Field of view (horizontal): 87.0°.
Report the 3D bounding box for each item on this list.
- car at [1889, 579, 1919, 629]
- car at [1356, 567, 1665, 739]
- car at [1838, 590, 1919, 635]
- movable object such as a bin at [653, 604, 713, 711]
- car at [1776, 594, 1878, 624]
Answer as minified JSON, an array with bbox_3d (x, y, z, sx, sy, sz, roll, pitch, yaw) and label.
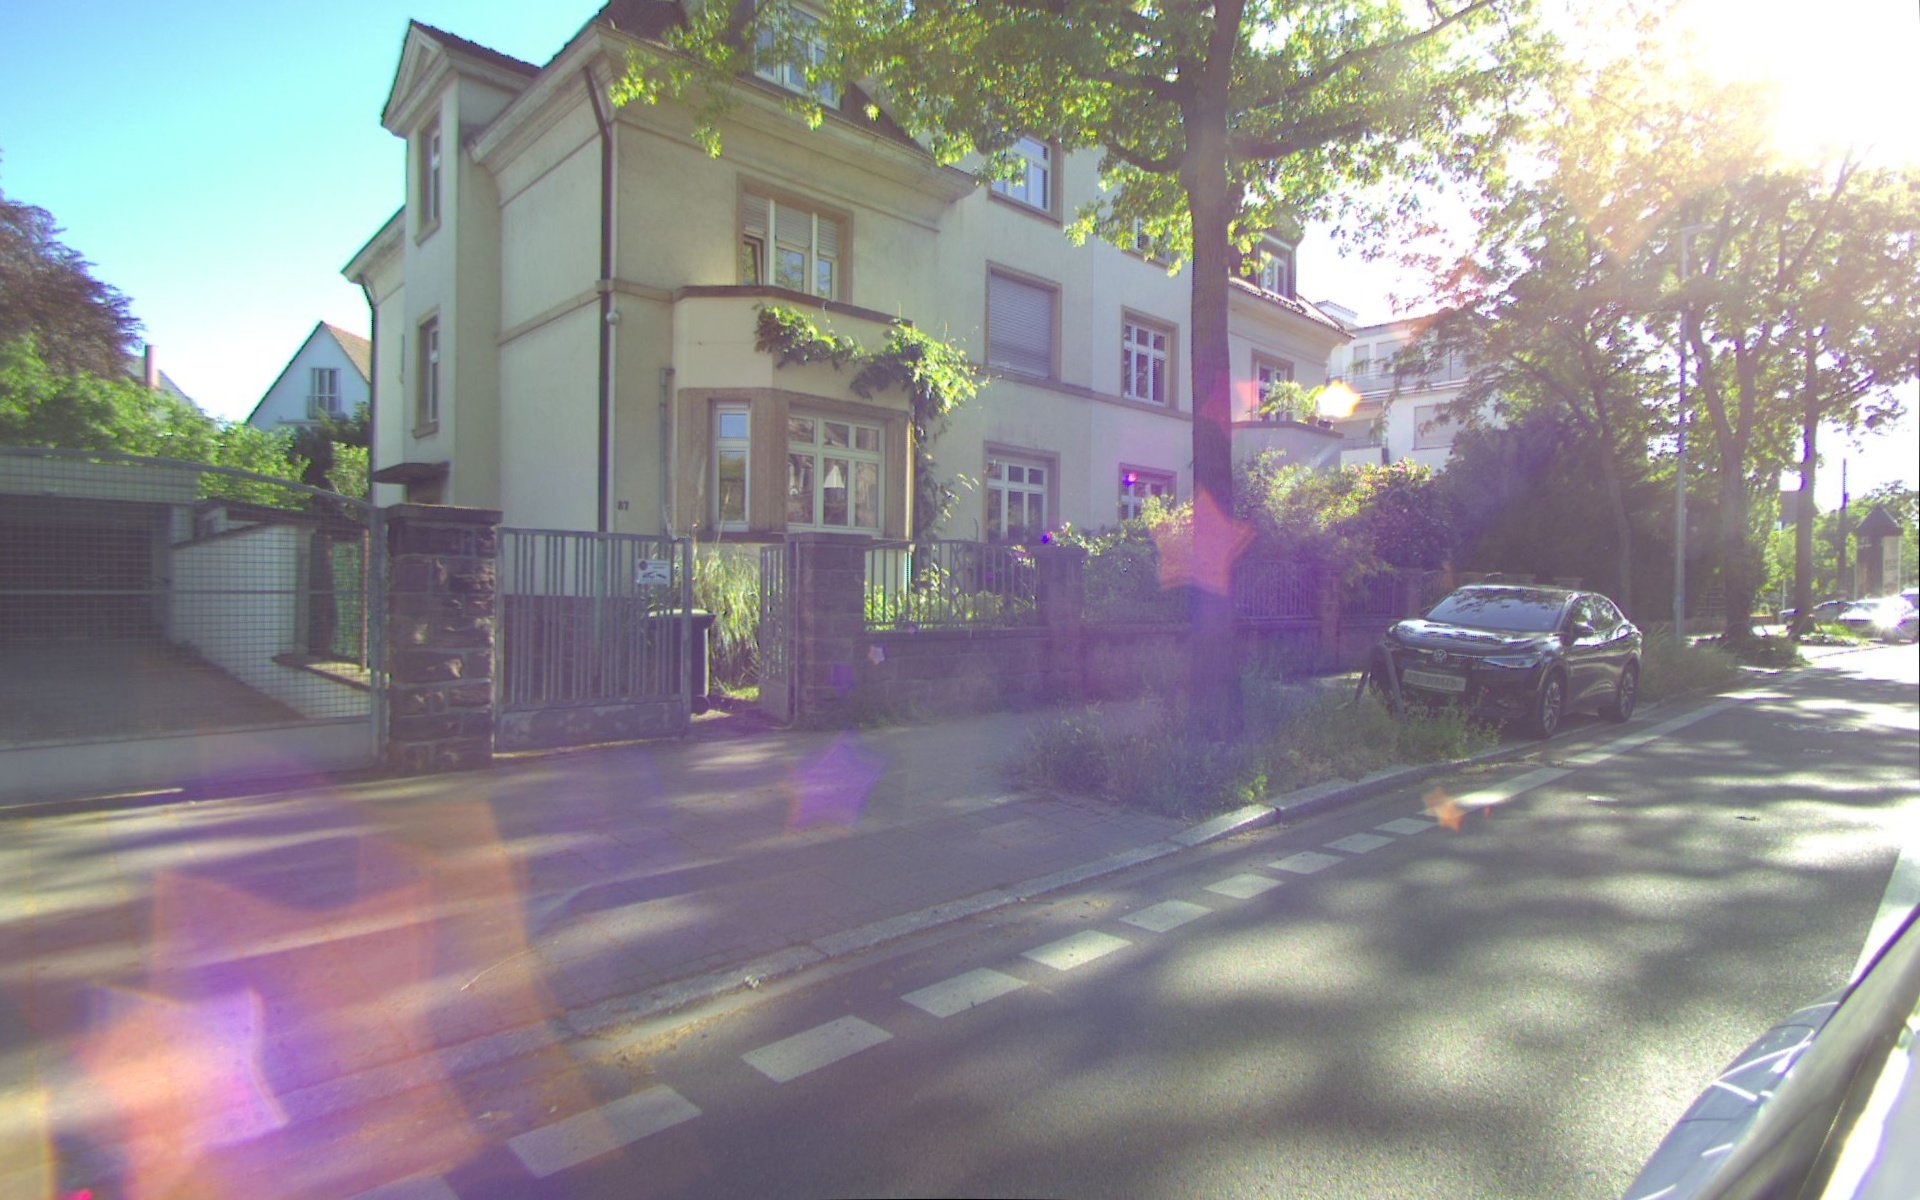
[{"bbox_3d":[36.667,0.129,37.857,4.580,1.808,1.903,0,1,-35],"label":"car"},{"bbox_3d":[6.704,0.496,12.138,4.186,1.619,1.917,0,4,-42],"label":"car"},{"bbox_3d":[31.507,0.382,34.275,4.181,1.427,1.901,0,1,-38],"label":"car"},{"bbox_3d":[-2.928,0.586,10.673,0.551,1.062,0.676,0,0,-20],"label":"movable object such as a bin"},{"bbox_3d":[46.062,0.459,53.841,1.784,1.459,3.990,0,1,-44],"label":"car"}]
